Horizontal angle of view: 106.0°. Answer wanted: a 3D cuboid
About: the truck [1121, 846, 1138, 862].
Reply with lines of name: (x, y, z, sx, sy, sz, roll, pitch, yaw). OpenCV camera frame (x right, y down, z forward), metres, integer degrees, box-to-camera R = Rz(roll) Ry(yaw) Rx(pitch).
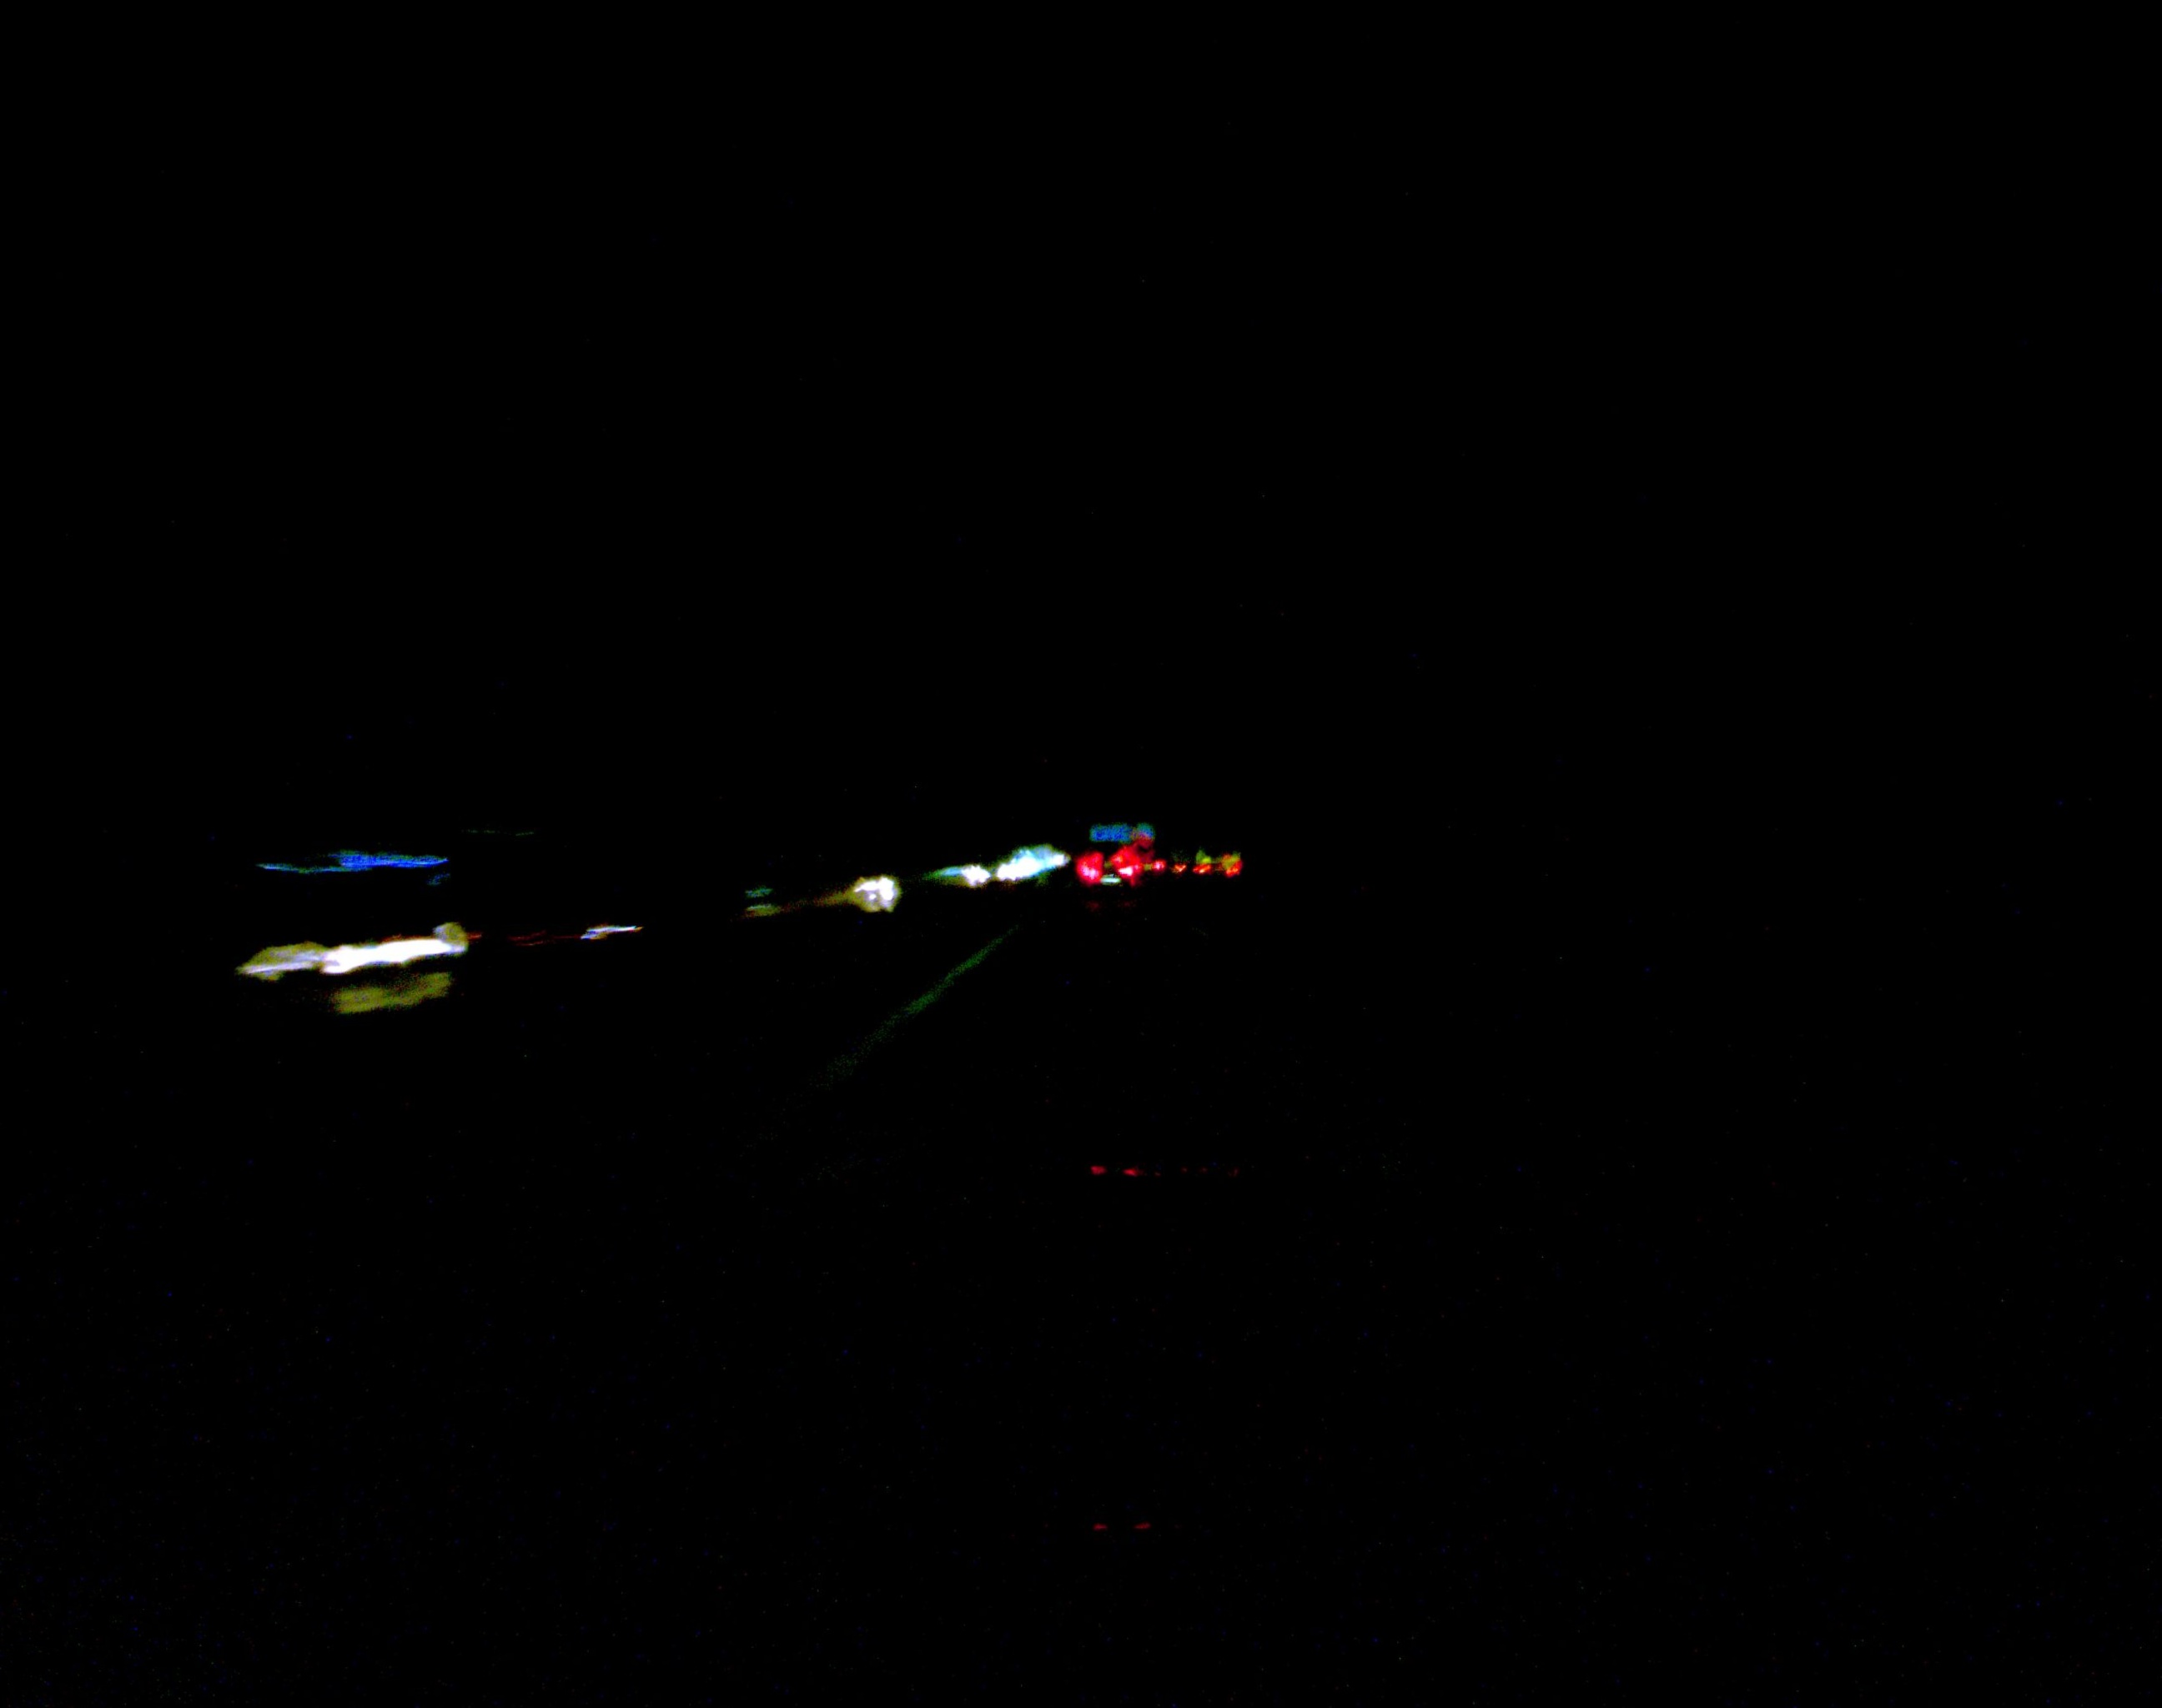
truck: (10.337, 0.042, 174.694, 3.027, 3.297, 11.380, -3, 0, 0)

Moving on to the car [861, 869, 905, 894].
car: (-14.676, 2.013, 60.560, 1.909, 1.684, 4.508, -3, -1, 2)

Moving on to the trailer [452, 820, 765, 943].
trailer: (-15.704, 0.748, 29.247, 3.063, 3.295, 13.161, -3, 0, 2)

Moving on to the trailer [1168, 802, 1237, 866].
trailer: (8.782, -1.275, 60.741, 3.031, 4.108, 13.828, -3, 0, 1)

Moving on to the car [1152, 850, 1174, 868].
car: (9.789, 0.561, 97.513, 1.988, 2.013, 3.997, -3, -1, -2)

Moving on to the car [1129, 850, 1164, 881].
car: (4.649, 0.801, 58.303, 1.988, 2.013, 3.997, -3, -1, -2)

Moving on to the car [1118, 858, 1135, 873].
car: (6.528, 1.616, 117.043, 1.988, 2.013, 3.997, -3, -1, -2)

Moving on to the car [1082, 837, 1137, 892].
car: (1.116, 0.400, 32.125, 1.986, 2.014, 4.002, -1, -1, 2)

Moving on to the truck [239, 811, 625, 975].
truck: (-15.967, 0.802, 21.275, 3.063, 3.295, 8.347, -3, 0, 2)

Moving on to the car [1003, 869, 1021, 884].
car: (-9.398, 3.045, 111.319, 1.987, 1.760, 4.655, 0, 1, 0)
